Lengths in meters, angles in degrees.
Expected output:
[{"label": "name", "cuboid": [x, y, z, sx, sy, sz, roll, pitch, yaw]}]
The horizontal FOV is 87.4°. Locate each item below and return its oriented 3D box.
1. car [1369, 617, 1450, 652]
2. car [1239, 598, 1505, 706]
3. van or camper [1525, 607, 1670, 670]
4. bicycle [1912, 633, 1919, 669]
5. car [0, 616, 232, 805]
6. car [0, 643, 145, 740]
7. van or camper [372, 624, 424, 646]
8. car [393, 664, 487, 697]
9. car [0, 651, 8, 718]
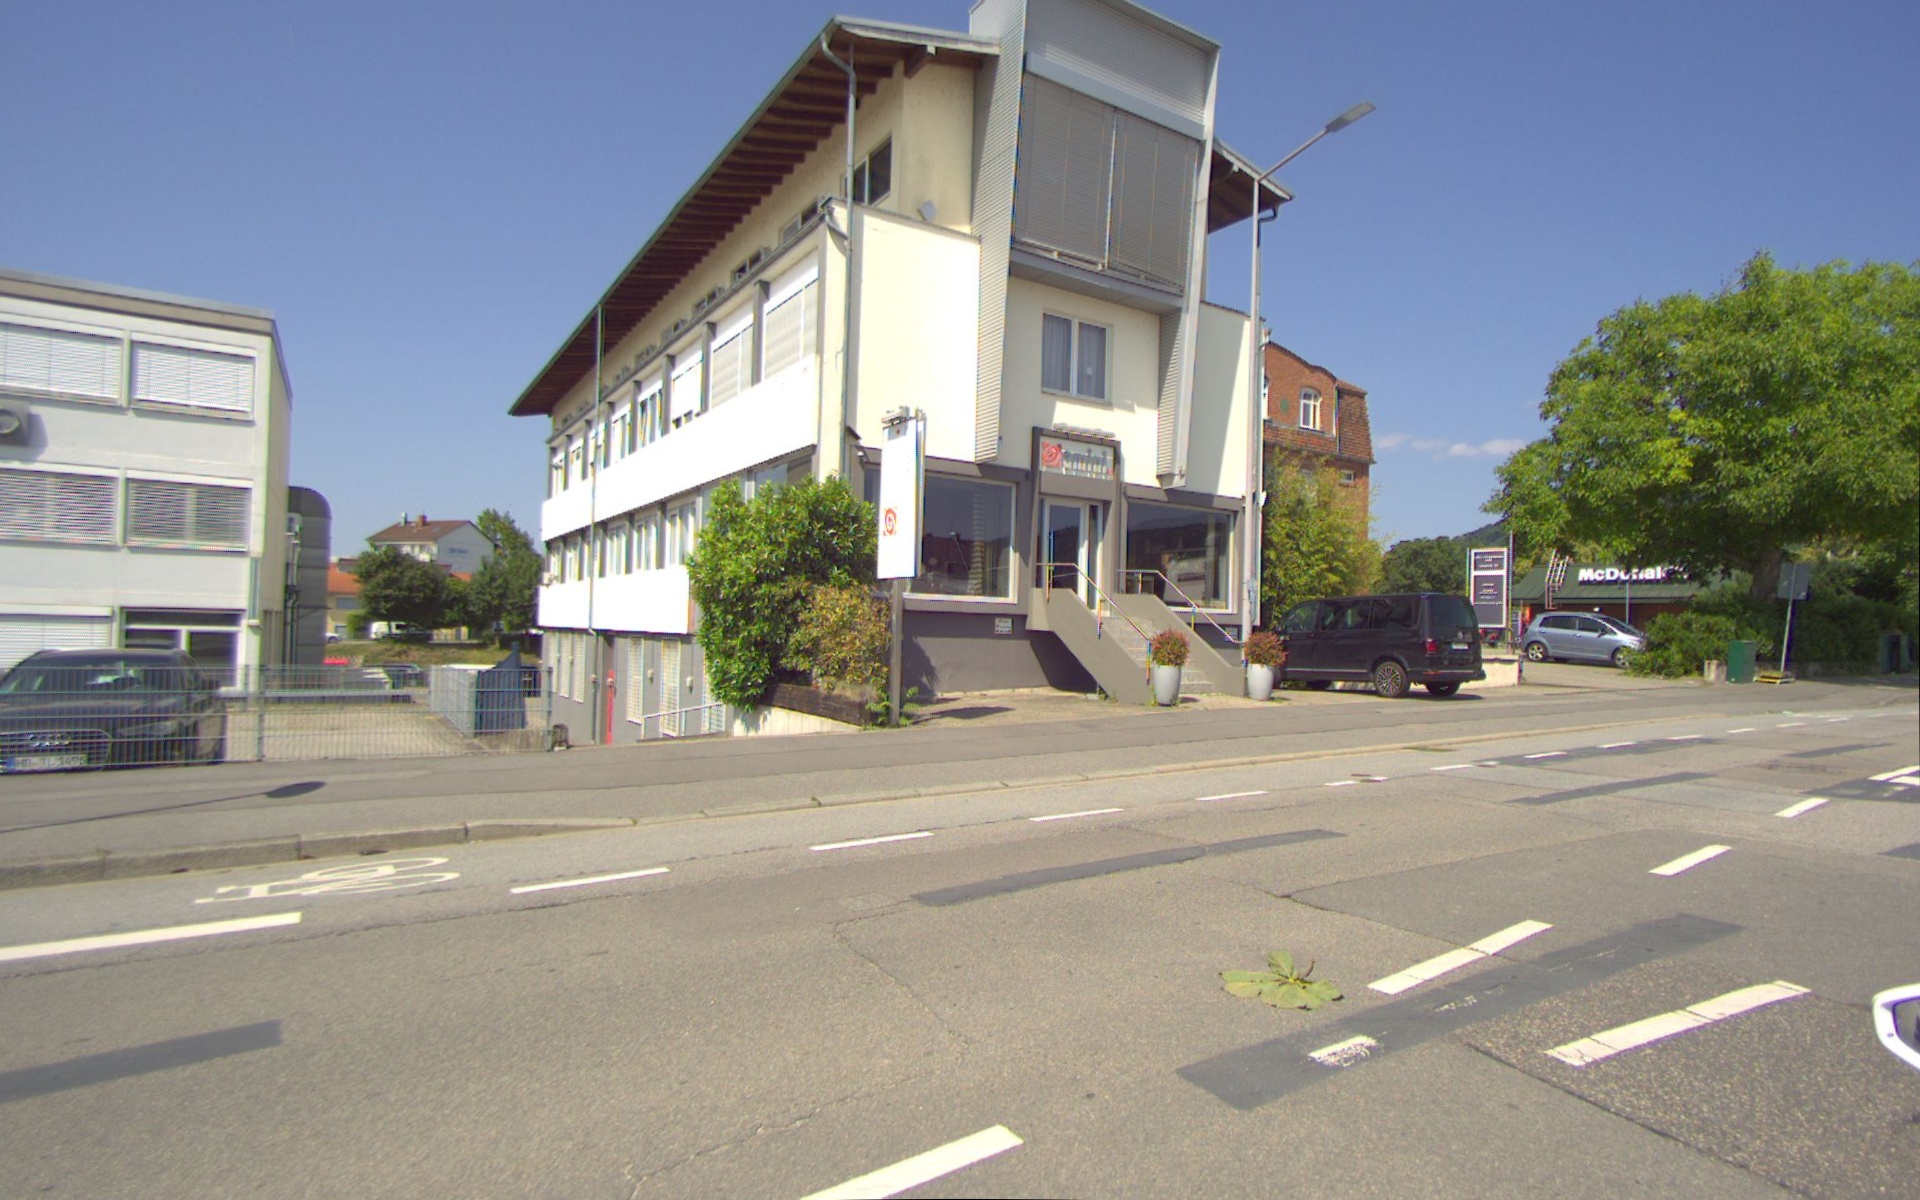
[{"label": "car", "cuboid": [22.499, 1.730, 50.455, 2.113, 1.654, 4.480, 1, -2, 0]}, {"label": "car", "cuboid": [8.108, 0.939, 20.168, 2.073, 1.890, 4.533, 1, 0, -36]}, {"label": "van or camper", "cuboid": [19.520, 1.148, 30.877, 1.614, 1.687, 3.375, 1, 1, -30]}, {"label": "bicycle", "cuboid": [32.548, 1.708, 33.190, 2.738, 1.133, 1.020, 2, 1, -35]}, {"label": "car", "cuboid": [-8.797, 0.926, 10.169, 2.026, 1.500, 4.712, 1, -1, -33]}, {"label": "car", "cuboid": [-16.868, 1.635, 18.972, 1.839, 1.480, 3.964, 1, -1, -33]}, {"label": "van or camper", "cuboid": [-52.499, 3.264, 93.886, 4.017, 2.040, 1.979, 1, -1, -37]}, {"label": "car", "cuboid": [-28.289, 4.339, 54.648, 4.400, 1.526, 2.138, 1, -1, -32]}, {"label": "car", "cuboid": [-18.474, 1.625, 17.618, 1.839, 1.282, 3.964, 1, -1, -33]}]
